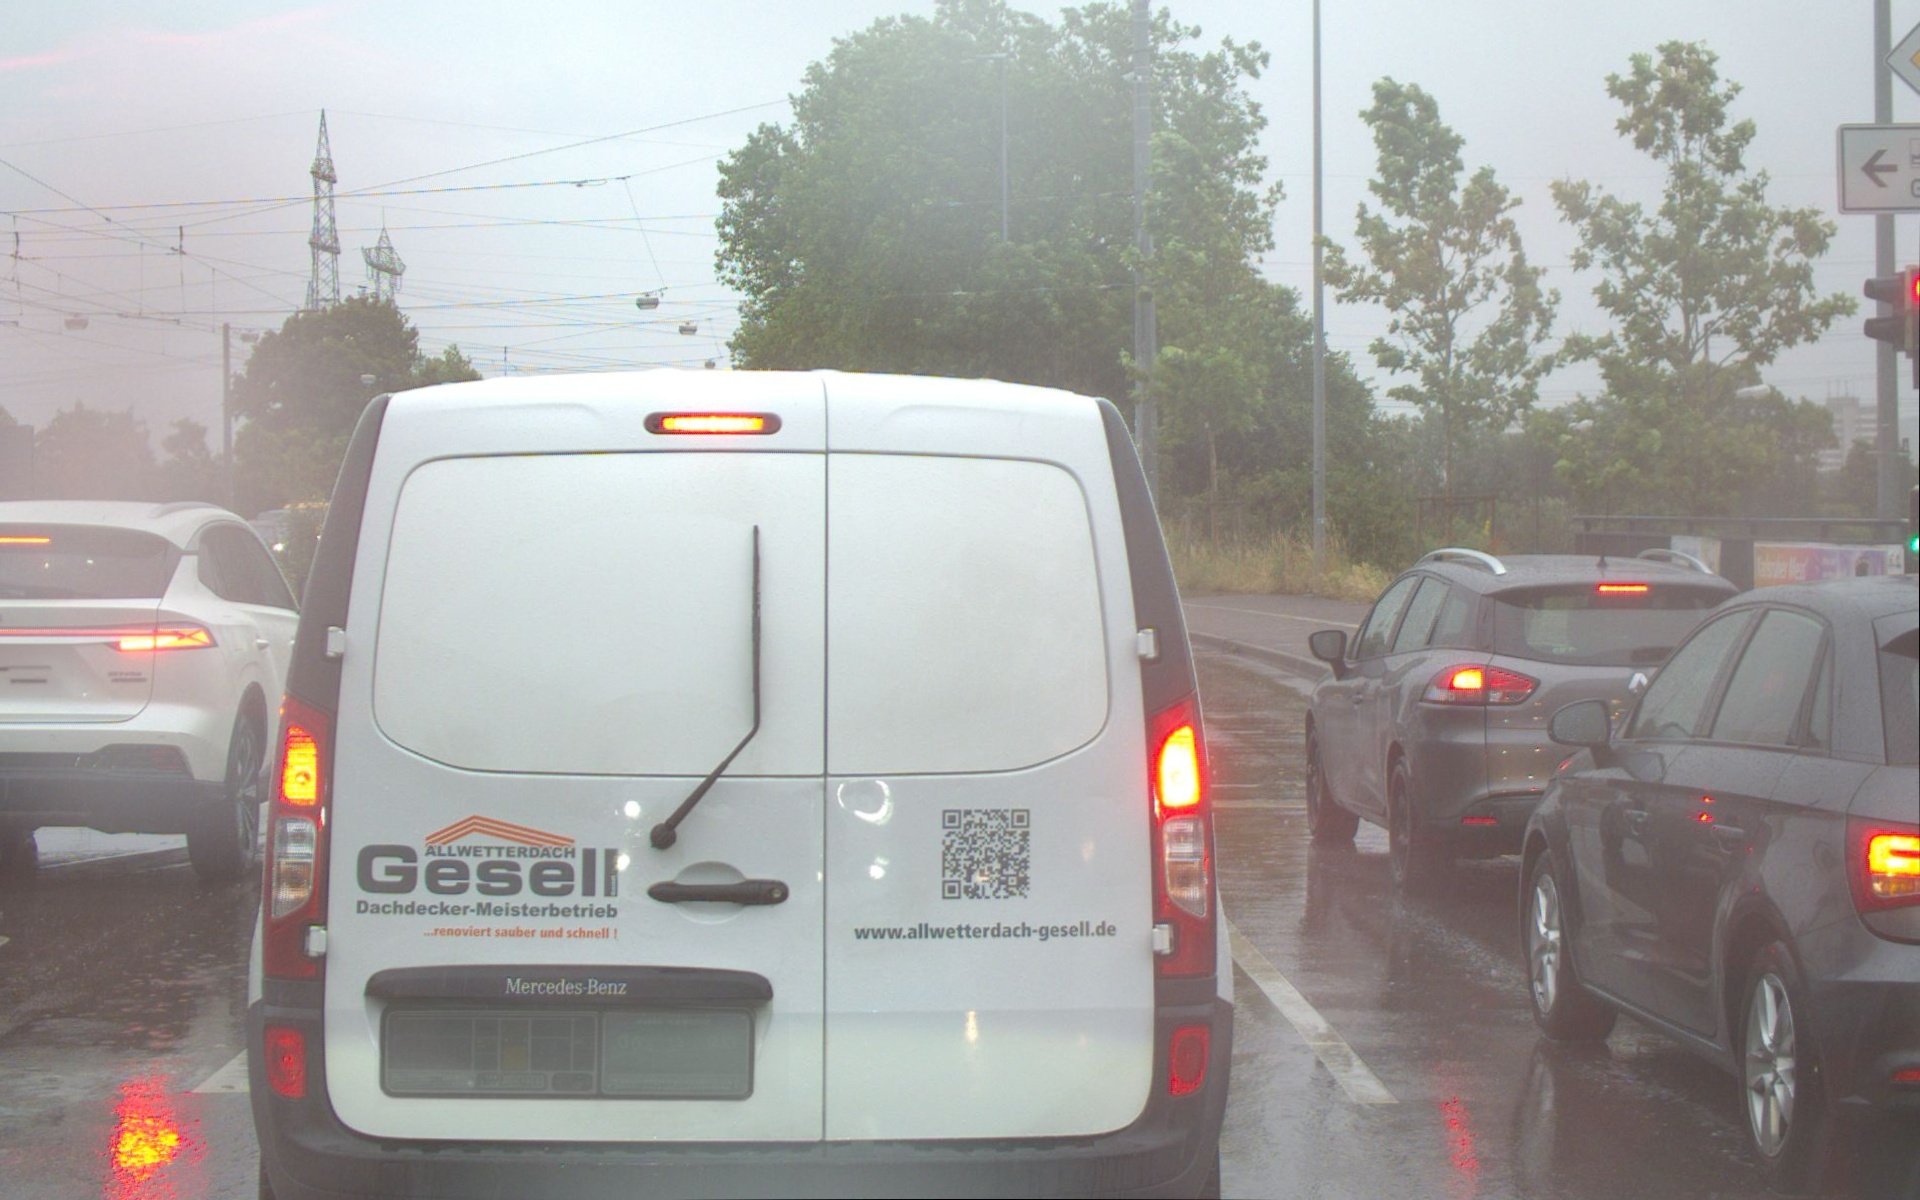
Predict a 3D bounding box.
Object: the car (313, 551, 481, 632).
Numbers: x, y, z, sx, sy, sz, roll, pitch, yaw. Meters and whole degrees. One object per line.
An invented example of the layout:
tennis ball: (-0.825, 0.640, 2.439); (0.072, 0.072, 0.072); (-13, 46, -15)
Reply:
car: (-8.116, -0.111, 49.827); (1.492, 1.082, 3.535); (2, 0, 6)

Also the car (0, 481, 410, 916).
car: (-3.959, 0.362, 16.450); (1.930, 1.769, 4.664); (1, 1, -1)

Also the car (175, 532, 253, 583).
car: (-22.425, -1.265, 103.437); (1.559, 1.421, 3.569); (2, 0, -1)

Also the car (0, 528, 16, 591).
car: (-22.537, -0.953, 77.401); (1.559, 1.421, 3.569); (2, 0, -1)

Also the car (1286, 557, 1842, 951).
car: (2.552, 0.580, 15.428); (1.684, 1.503, 3.921); (1, 1, -1)

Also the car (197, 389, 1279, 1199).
car: (-0.505, 0.474, 7.708); (1.754, 1.744, 4.170); (1, 2, -4)

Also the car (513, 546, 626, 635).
car: (-7.213, -0.185, 63.814); (1.634, 1.517, 3.775); (3, 0, -1)

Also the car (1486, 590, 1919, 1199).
car: (2.534, 0.658, 8.954); (1.597, 1.362, 3.631); (-1, 0, -3)
